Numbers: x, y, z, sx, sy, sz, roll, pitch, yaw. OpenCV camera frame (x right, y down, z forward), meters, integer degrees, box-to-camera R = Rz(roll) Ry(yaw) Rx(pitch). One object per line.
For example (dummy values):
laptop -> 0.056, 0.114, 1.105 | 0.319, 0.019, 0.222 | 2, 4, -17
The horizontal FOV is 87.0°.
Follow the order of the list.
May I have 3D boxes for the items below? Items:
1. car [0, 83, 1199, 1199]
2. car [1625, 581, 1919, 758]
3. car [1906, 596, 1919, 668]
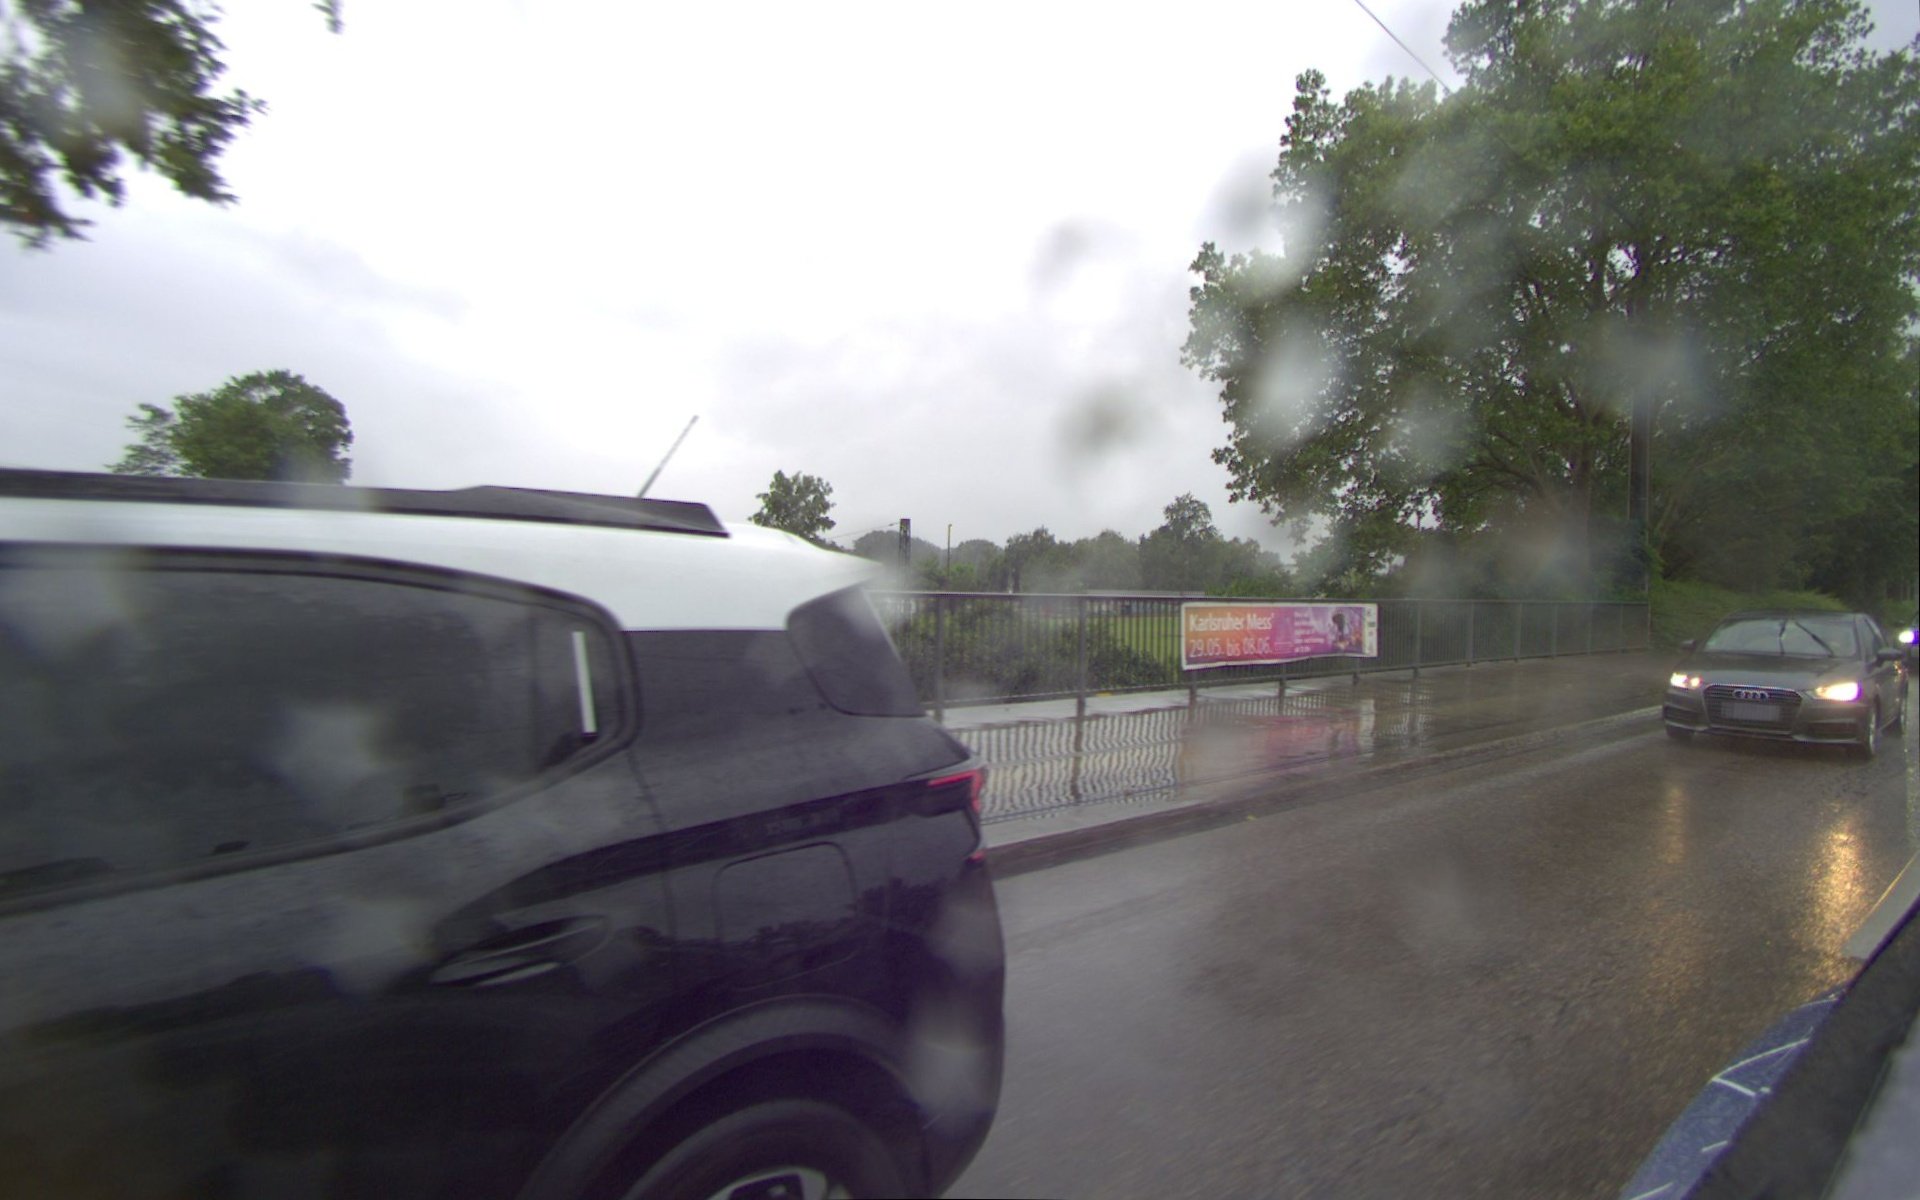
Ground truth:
car -> -1.843, 0.374, 1.363 | 4.643, 1.738, 1.902 | 1, 0, -42
car -> 8.930, 0.625, 10.958 | 3.922, 1.548, 1.970 | 1, 0, -42
car -> 21.621, 0.660, 21.601 | 3.788, 1.431, 1.794 | -1, 1, -42
